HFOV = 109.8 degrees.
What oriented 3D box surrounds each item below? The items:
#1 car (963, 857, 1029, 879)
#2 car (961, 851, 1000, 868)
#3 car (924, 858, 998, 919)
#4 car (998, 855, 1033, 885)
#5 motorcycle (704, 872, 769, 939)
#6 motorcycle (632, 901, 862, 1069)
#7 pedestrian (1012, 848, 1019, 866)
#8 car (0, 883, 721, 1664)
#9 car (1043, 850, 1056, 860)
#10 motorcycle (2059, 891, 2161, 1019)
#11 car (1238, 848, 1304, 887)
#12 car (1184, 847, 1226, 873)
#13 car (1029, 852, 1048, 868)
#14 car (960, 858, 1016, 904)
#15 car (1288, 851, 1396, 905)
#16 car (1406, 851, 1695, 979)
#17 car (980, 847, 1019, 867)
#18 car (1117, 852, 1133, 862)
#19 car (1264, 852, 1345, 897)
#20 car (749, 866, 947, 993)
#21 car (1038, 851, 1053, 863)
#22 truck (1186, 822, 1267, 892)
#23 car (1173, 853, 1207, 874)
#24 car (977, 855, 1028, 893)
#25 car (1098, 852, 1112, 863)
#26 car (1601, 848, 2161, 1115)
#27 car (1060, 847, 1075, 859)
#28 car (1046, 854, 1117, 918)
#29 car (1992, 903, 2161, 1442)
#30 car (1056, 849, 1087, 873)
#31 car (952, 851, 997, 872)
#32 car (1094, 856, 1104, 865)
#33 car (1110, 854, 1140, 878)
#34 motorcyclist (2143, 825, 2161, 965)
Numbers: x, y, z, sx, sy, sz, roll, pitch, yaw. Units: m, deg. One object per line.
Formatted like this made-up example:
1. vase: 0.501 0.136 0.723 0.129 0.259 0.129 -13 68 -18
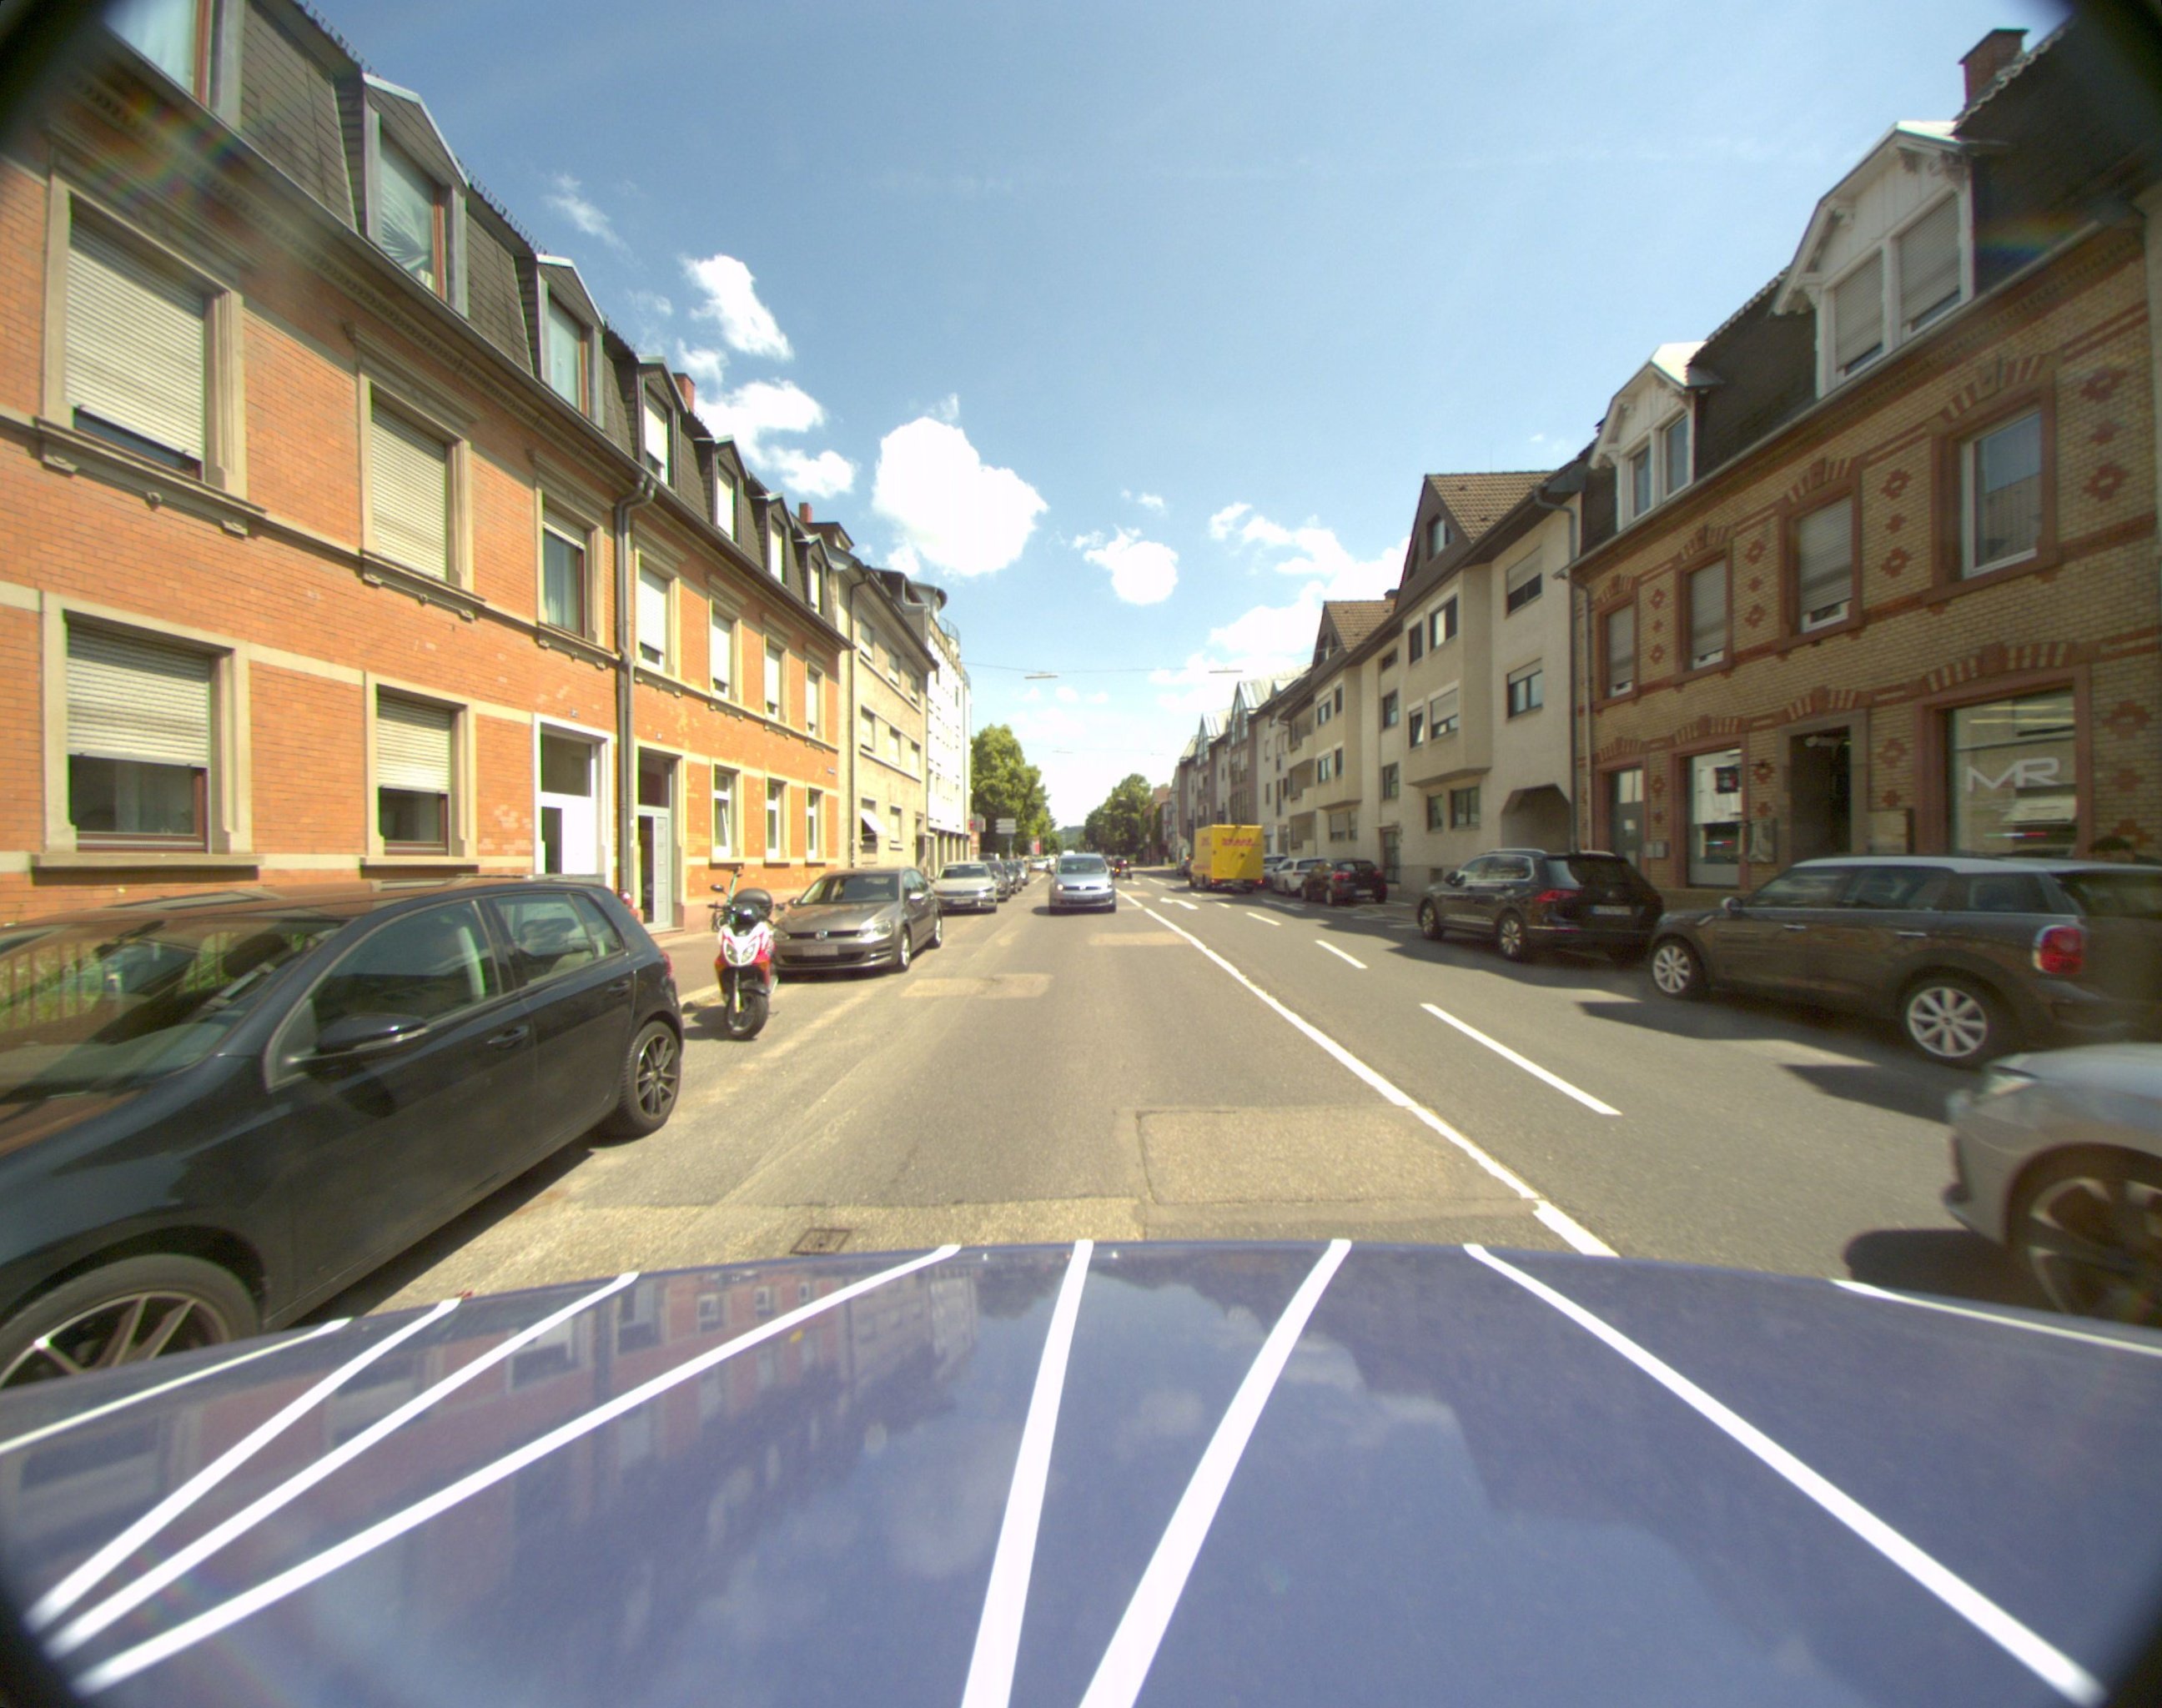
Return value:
1. car: -6.125 0.986 55.404 4.594 1.357 1.999 -2 1 -3
2. car: -9.881 0.530 75.069 3.774 1.657 1.663 -1 1 -6
3. car: -3.373 0.919 22.140 1.859 1.455 4.547 -2 1 -6
4. car: -3.554 0.849 41.995 1.682 1.446 4.141 -3 1 -3
5. motorcycle: -6.765 0.986 14.988 0.597 1.218 1.361 -1 1 1
6. motorcycle: -3.118 1.095 7.025 1.991 1.218 1.115 -3 1 40
7. pedestrian: -6.554 0.293 76.087 0.618 1.754 0.737 -2 1 -2
8. car: -3.140 0.956 2.848 1.653 1.406 4.499 -2 1 -4
9. car: -4.692 0.171 114.394 1.721 1.434 4.111 -3 0 0
10. motorcycle: 9.978 0.916 6.494 0.847 1.072 1.871 -1 1 1
11. car: 8.851 0.578 35.791 1.844 1.586 4.385 -4 1 -1
12. car: 8.100 0.355 50.019 1.844 1.480 4.385 -4 1 -2
13. car: -4.323 0.567 77.688 1.772 1.477 3.889 -2 1 -3
14. car: -3.251 0.908 27.209 1.656 1.412 4.047 -2 0 -3
15. car: 8.432 0.708 24.994 1.844 1.479 4.501 -4 1 -1
16. car: 7.023 0.782 12.070 1.844 1.587 4.502 1 1 1
17. car: -10.342 0.400 96.646 4.614 2.263 2.105 -3 1 -1
18. car: 6.880 0.482 118.652 1.891 1.531 4.566 -1 1 -3
19. car: 8.720 0.737 30.011 1.844 1.479 4.385 -4 1 0
20. car: -3.241 0.968 11.462 1.705 1.373 4.165 -2 1 -1
21. car: -4.290 0.358 93.113 1.667 1.420 3.999 -2 0 -1
22. truck: 6.243 0.099 33.644 2.231 2.755 7.563 0 1 1
23. car: 8.490 0.711 59.431 1.844 1.439 4.968 -4 1 0
24. car: -3.352 0.836 33.107 1.716 1.464 4.437 -1 0 0
25. car: 3.447 0.519 110.647 1.817 1.611 4.440 0 0 -2
26. car: 7.160 0.783 6.856 1.844 1.587 4.502 2 1 1
27. car: -1.682 -0.134 97.798 1.720 1.406 4.589 -1 1 2
28. car: -0.025 0.799 21.192 1.747 1.513 4.222 -1 1 -1
29. car: 3.691 0.877 0.211 1.794 1.412 4.315 1 0 3
30. car: -0.624 0.484 55.366 1.998 1.652 4.625 -1 1 2
31. car: -10.107 0.700 72.439 3.998 1.741 2.016 -2 1 -2
32. car: 3.014 1.049 128.054 1.747 1.411 4.223 -1 1 1
33. car: 2.778 0.720 48.786 1.501 1.451 2.721 -1 1 -6
34. motorcyclist: 9.944 0.359 6.499 0.720 1.241 0.712 -1 1 0
